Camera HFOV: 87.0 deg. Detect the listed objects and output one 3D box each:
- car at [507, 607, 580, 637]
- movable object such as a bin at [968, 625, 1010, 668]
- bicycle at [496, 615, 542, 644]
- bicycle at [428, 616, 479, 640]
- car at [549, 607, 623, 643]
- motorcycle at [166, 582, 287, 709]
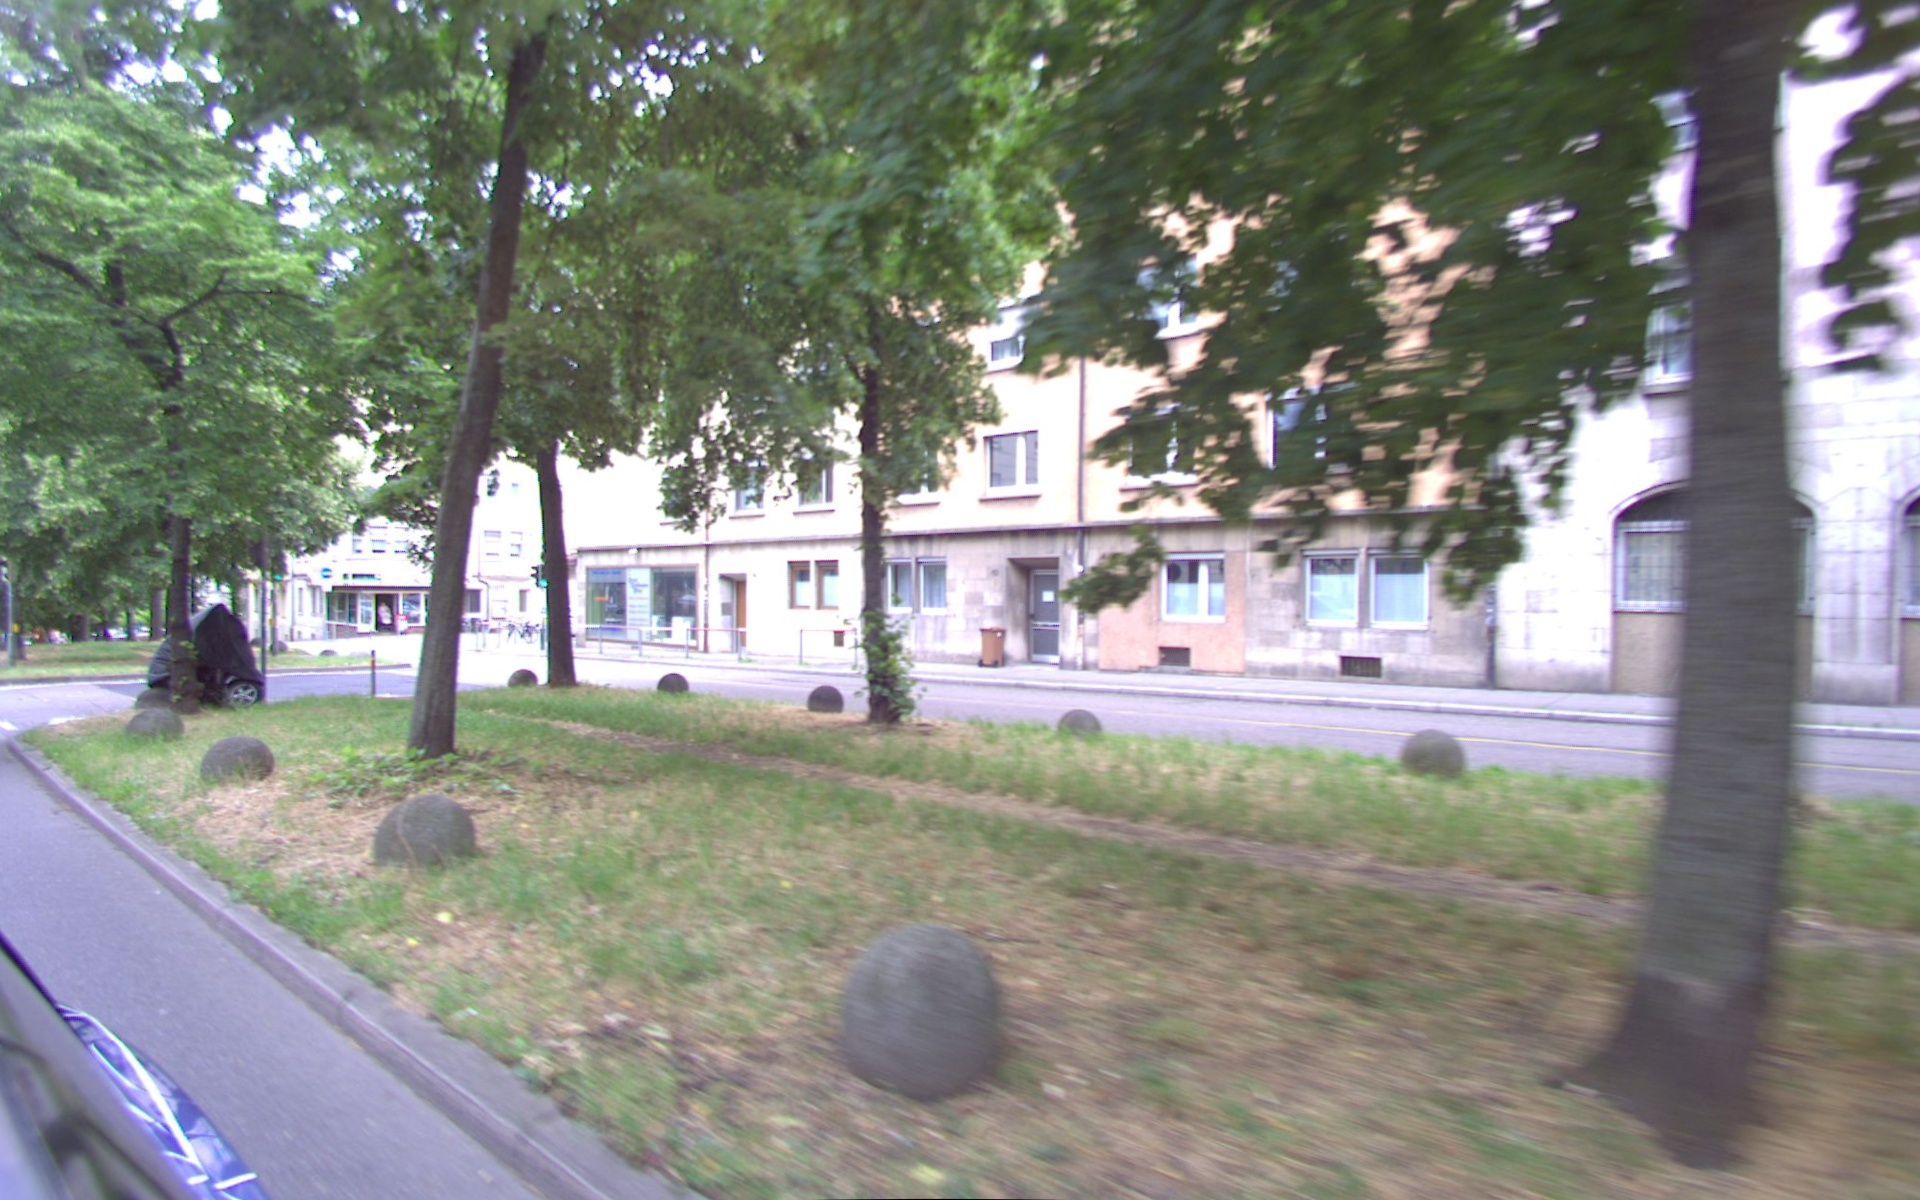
[{"bbox_3d":[-23.505,1.216,57.282,1.965,1.553,3.790,0,0,14],"label":"car"},{"bbox_3d":[0.657,1.033,22.888,0.779,0.934,0.507,-1,0,43],"label":"movable object such as a bin"},{"bbox_3d":[-18.941,1.281,43.475,2.050,1.158,0.677,-3,0,31],"label":"bicycle"},{"bbox_3d":[-26.550,1.462,53.060,2.310,1.108,0.777,-2,0,-29],"label":"bicycle"},{"bbox_3d":[-17.833,1.182,48.400,1.671,1.553,3.628,-3,0,11],"label":"car"},{"bbox_3d":[-9.823,0.646,13.502,2.623,1.542,0.814,-5,-5,43],"label":"motorcycle"}]
